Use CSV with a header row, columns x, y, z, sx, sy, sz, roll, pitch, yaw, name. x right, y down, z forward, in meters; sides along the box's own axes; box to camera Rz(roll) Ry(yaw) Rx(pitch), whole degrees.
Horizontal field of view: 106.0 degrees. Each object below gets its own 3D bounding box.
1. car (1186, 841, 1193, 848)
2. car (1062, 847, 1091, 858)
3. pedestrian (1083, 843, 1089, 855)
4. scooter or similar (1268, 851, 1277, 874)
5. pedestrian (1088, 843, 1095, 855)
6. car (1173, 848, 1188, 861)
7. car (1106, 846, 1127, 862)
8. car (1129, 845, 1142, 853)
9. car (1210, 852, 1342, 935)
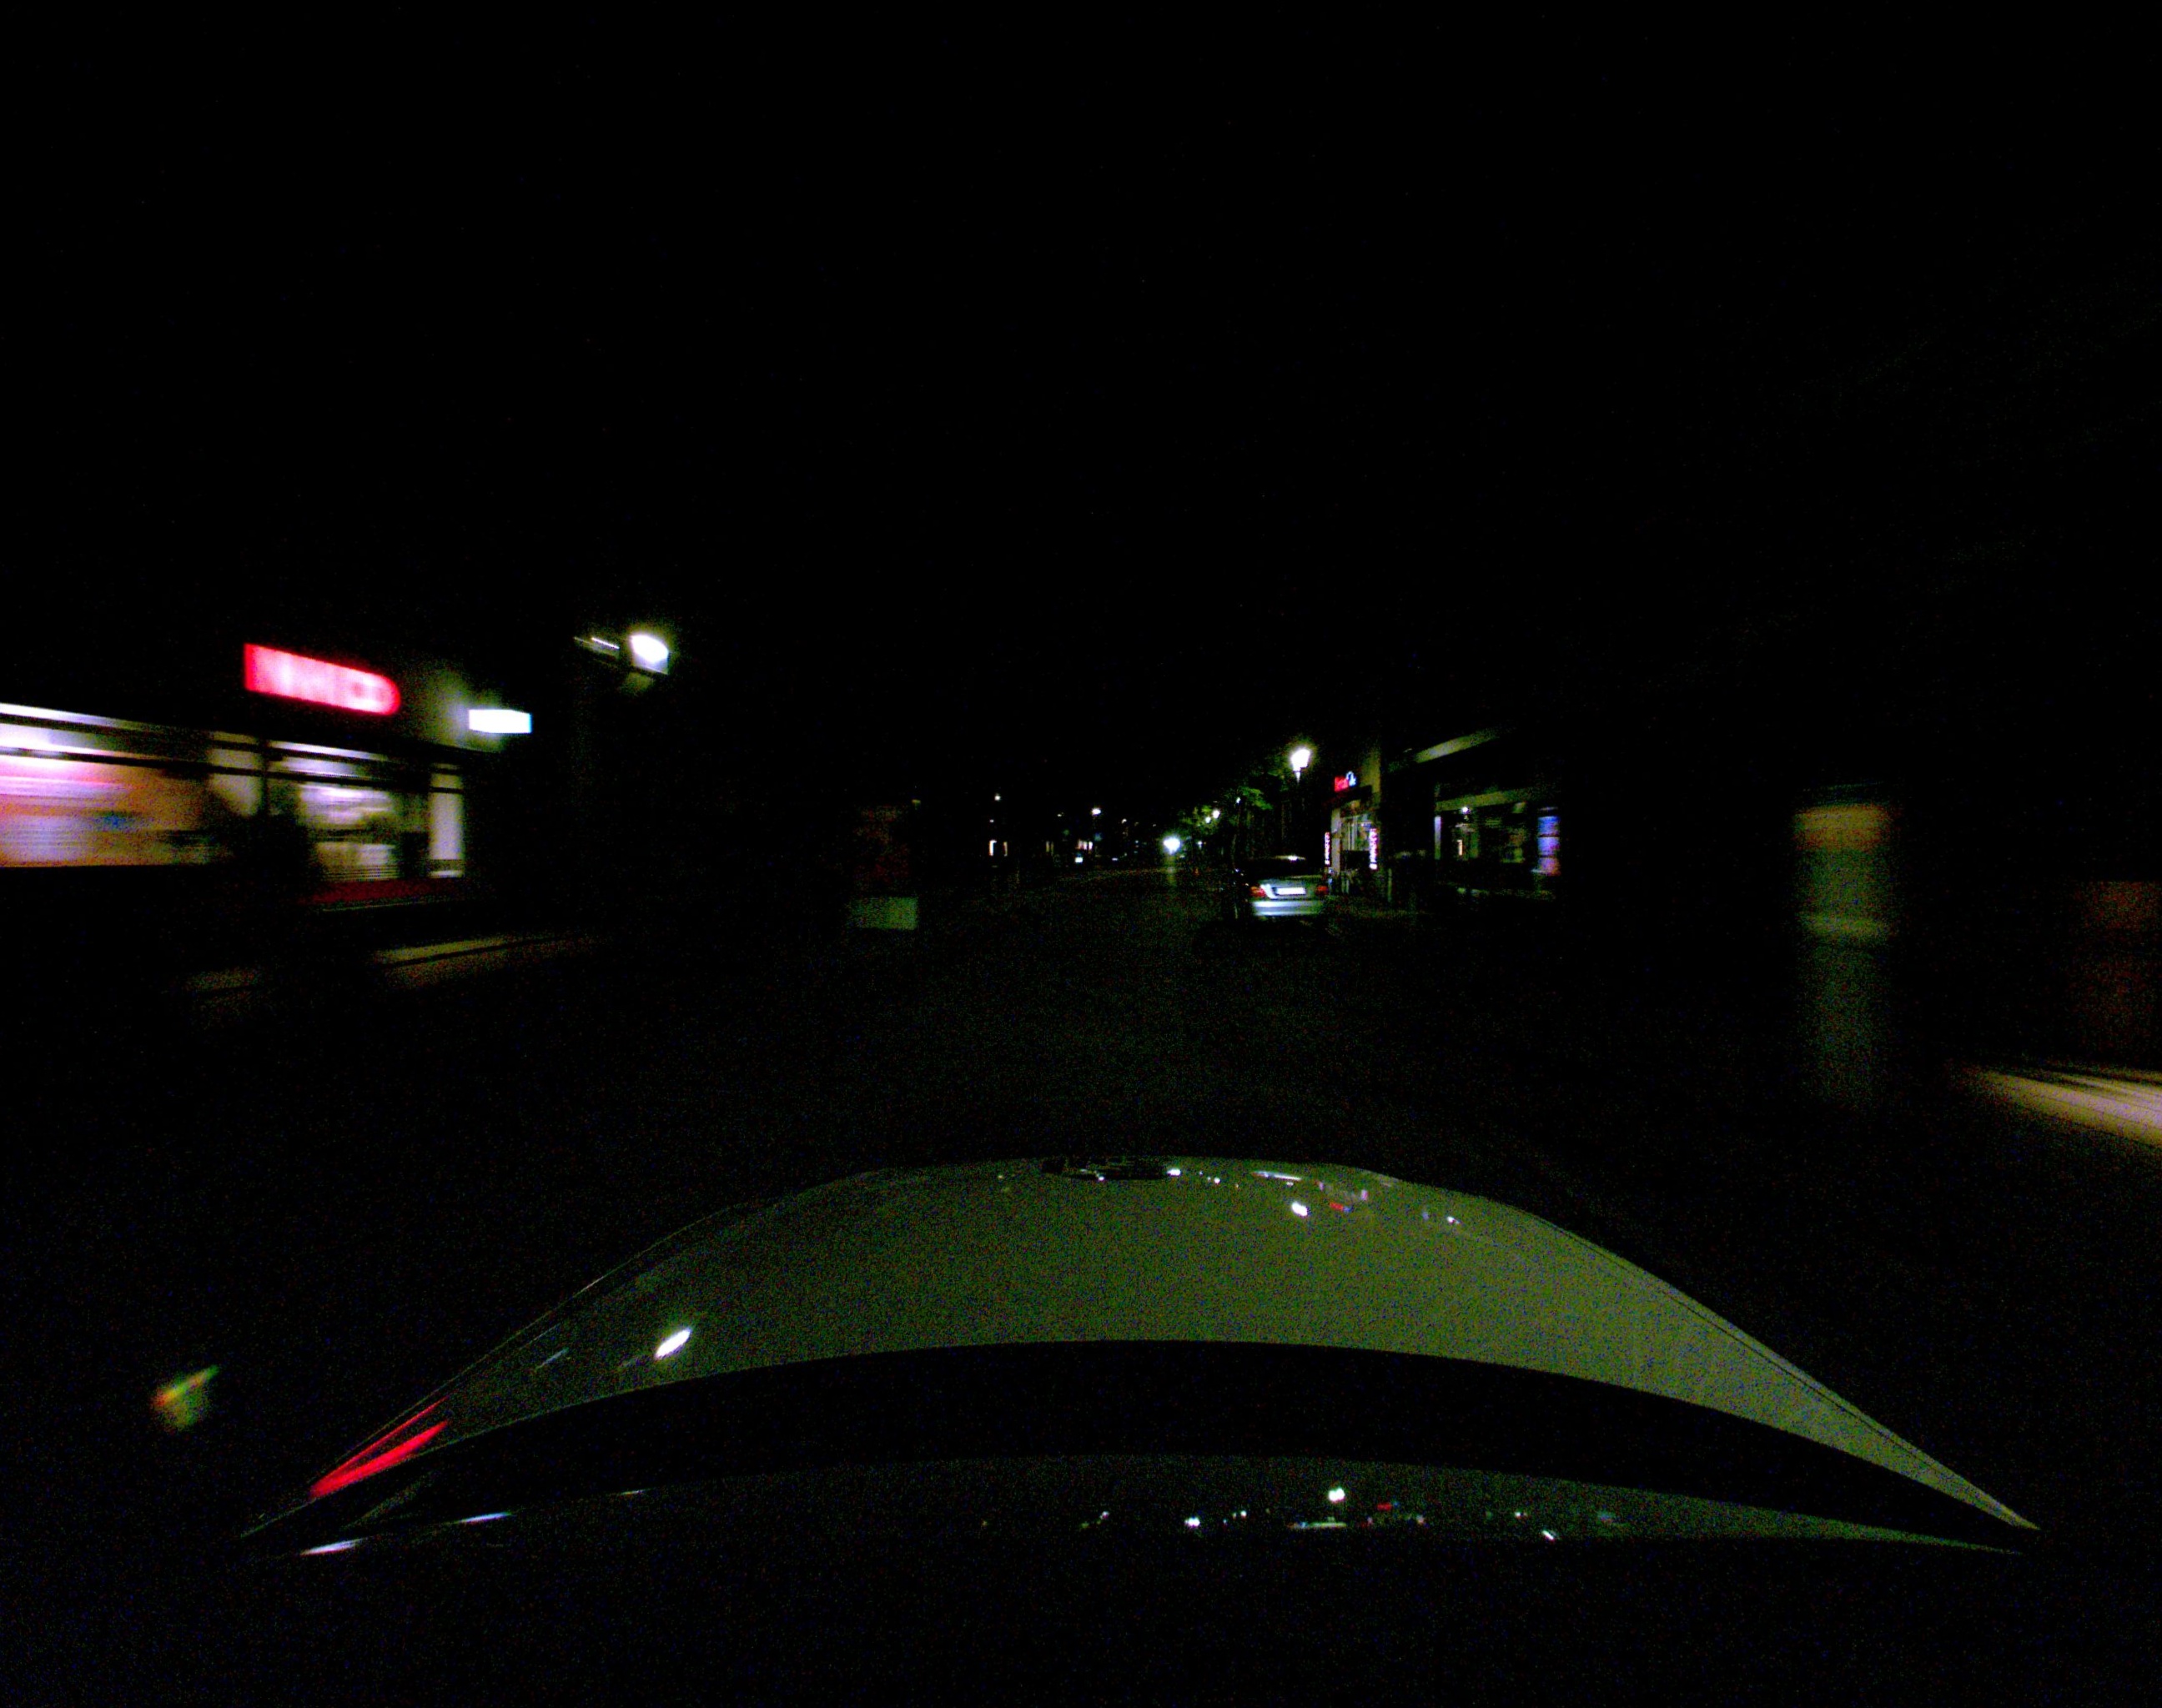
x,y,z,sx,sy,sz,roll,pitch,yaw,name
26.780,-2.245,200.646,1.765,1.652,4.374,-1,1,8,car
-0.657,-0.290,125.585,4.142,1.438,1.846,-4,0,9,car
0.698,-0.678,113.244,0.765,1.656,0.819,-1,2,7,pedestrian
10.722,0.485,45.582,0.371,1.277,1.308,-1,-1,7,scooter or similar
1.459,-0.693,113.124,0.765,1.656,0.783,-1,2,7,pedestrian
12.136,0.077,99.402,1.667,1.459,3.680,-1,0,4,car
4.155,-0.017,94.702,2.007,1.691,5.013,1,1,7,car
9.939,-0.889,148.518,1.903,1.370,4.468,-1,1,8,car
3.868,0.707,16.923,1.728,1.440,4.497,-1,0,1,car
